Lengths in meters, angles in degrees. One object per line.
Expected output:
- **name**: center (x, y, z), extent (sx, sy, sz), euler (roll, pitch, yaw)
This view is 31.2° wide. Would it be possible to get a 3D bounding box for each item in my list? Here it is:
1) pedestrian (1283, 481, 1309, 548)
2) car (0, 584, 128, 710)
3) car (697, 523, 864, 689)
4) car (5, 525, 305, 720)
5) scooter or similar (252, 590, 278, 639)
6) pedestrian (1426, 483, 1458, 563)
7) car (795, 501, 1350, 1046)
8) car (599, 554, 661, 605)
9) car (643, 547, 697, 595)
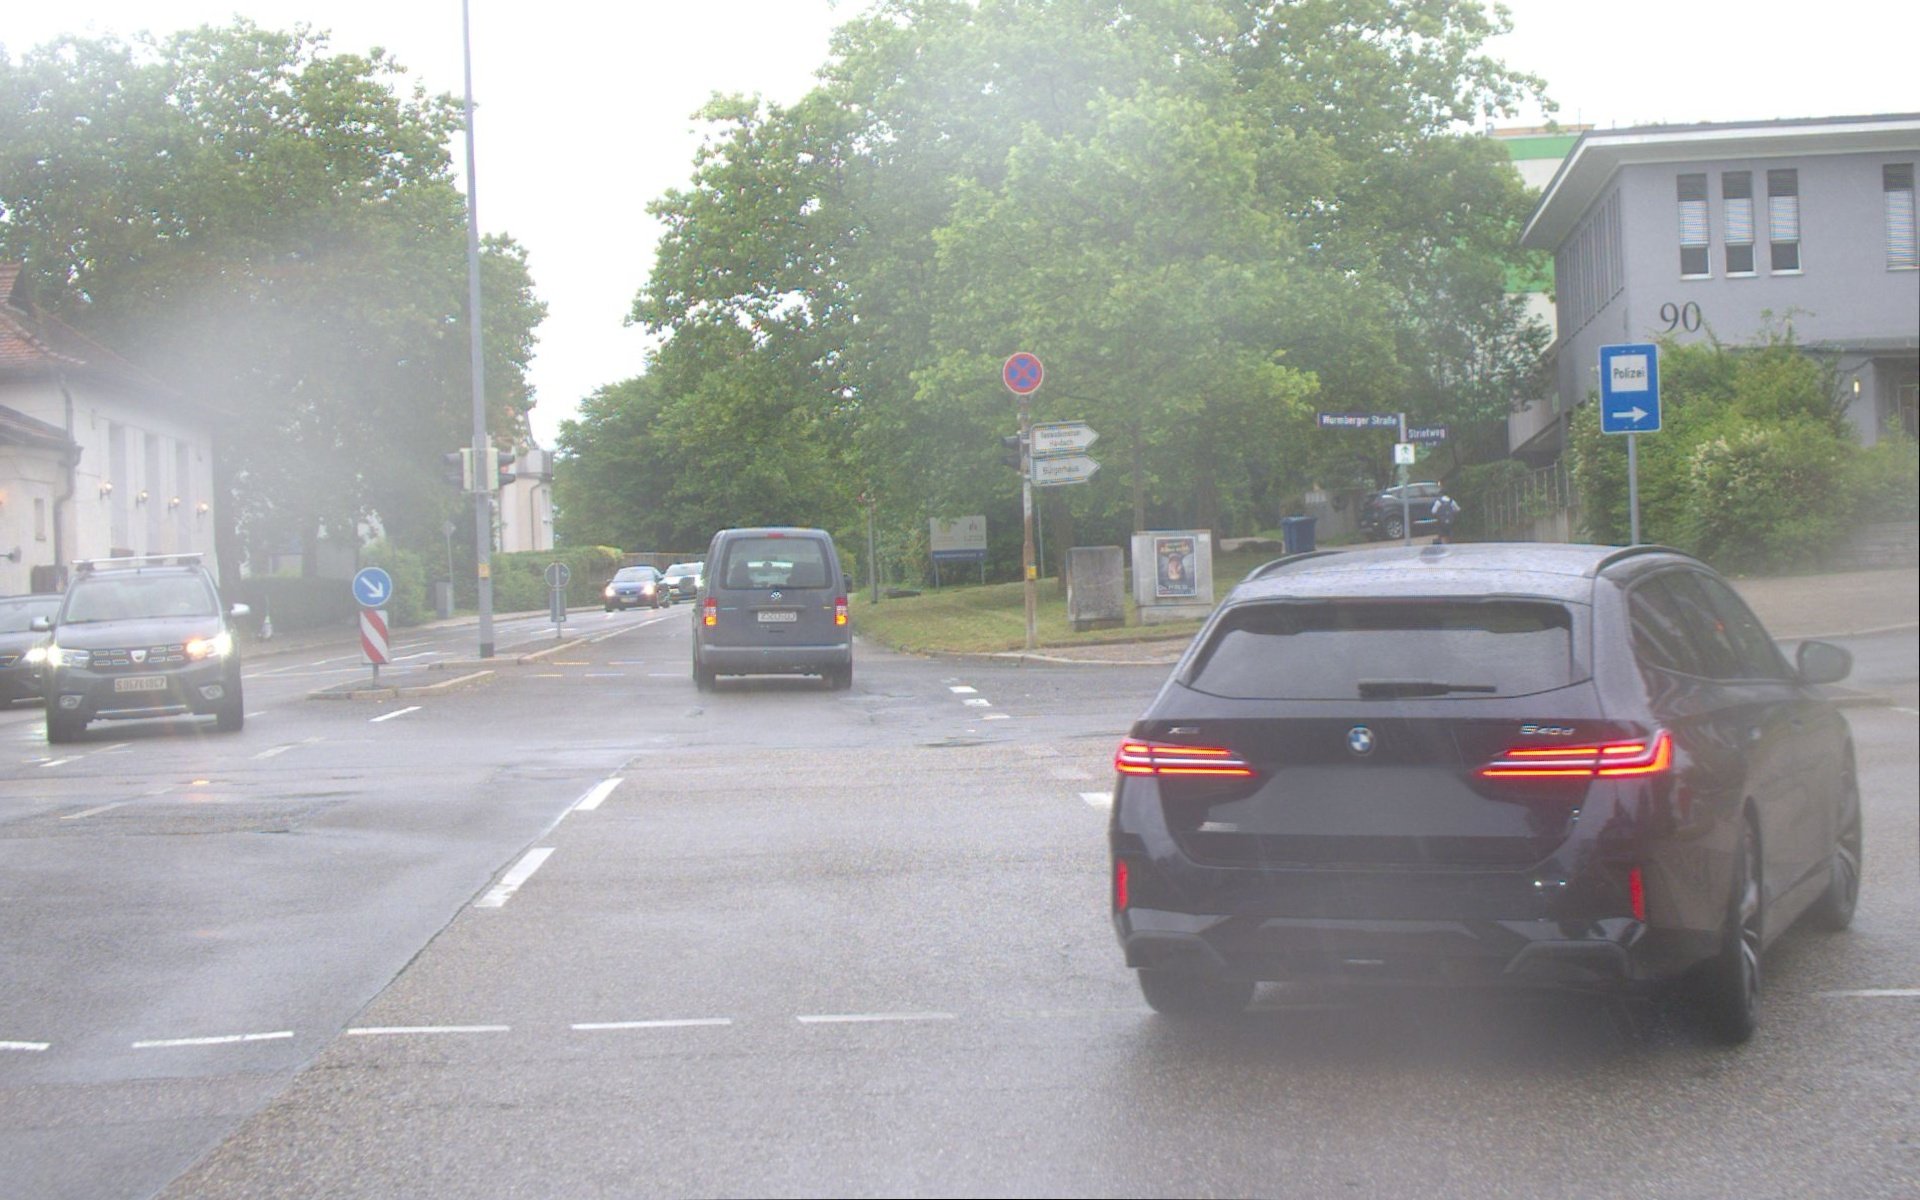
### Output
- **pedestrian**: center (8.910, -2.255, 91.119), extent (0.557, 1.757, 0.728), euler (0, 0, -5)
- **car**: center (-12.207, 0.592, 44.682), extent (1.908, 1.422, 4.416), euler (-2, 2, -3)
- **car**: center (-2.078, 0.052, 39.532), extent (1.812, 1.802, 3.757), euler (0, 0, -3)
- **car**: center (-7.327, 0.142, 31.718), extent (1.898, 1.572, 4.503), euler (-2, 2, -3)
- **scooter or similar**: center (-15.458, 0.320, 76.435), extent (0.389, 1.061, 1.411), euler (0, 0, -5)
- **pedestrian**: center (9.773, -1.562, 69.711), extent (0.601, 1.611, 0.525), euler (0, 0, 6)
- **car**: center (0.237, 0.474, 11.493), extent (1.523, 1.529, 3.532), euler (0, 0, -3)
- **car**: center (-11.074, -0.700, 115.452), extent (1.793, 1.522, 4.209), euler (-2, 2, -2)
- **car**: center (-11.072, -1.122, 131.563), extent (1.830, 1.666, 4.051), euler (-2, 2, -2)
